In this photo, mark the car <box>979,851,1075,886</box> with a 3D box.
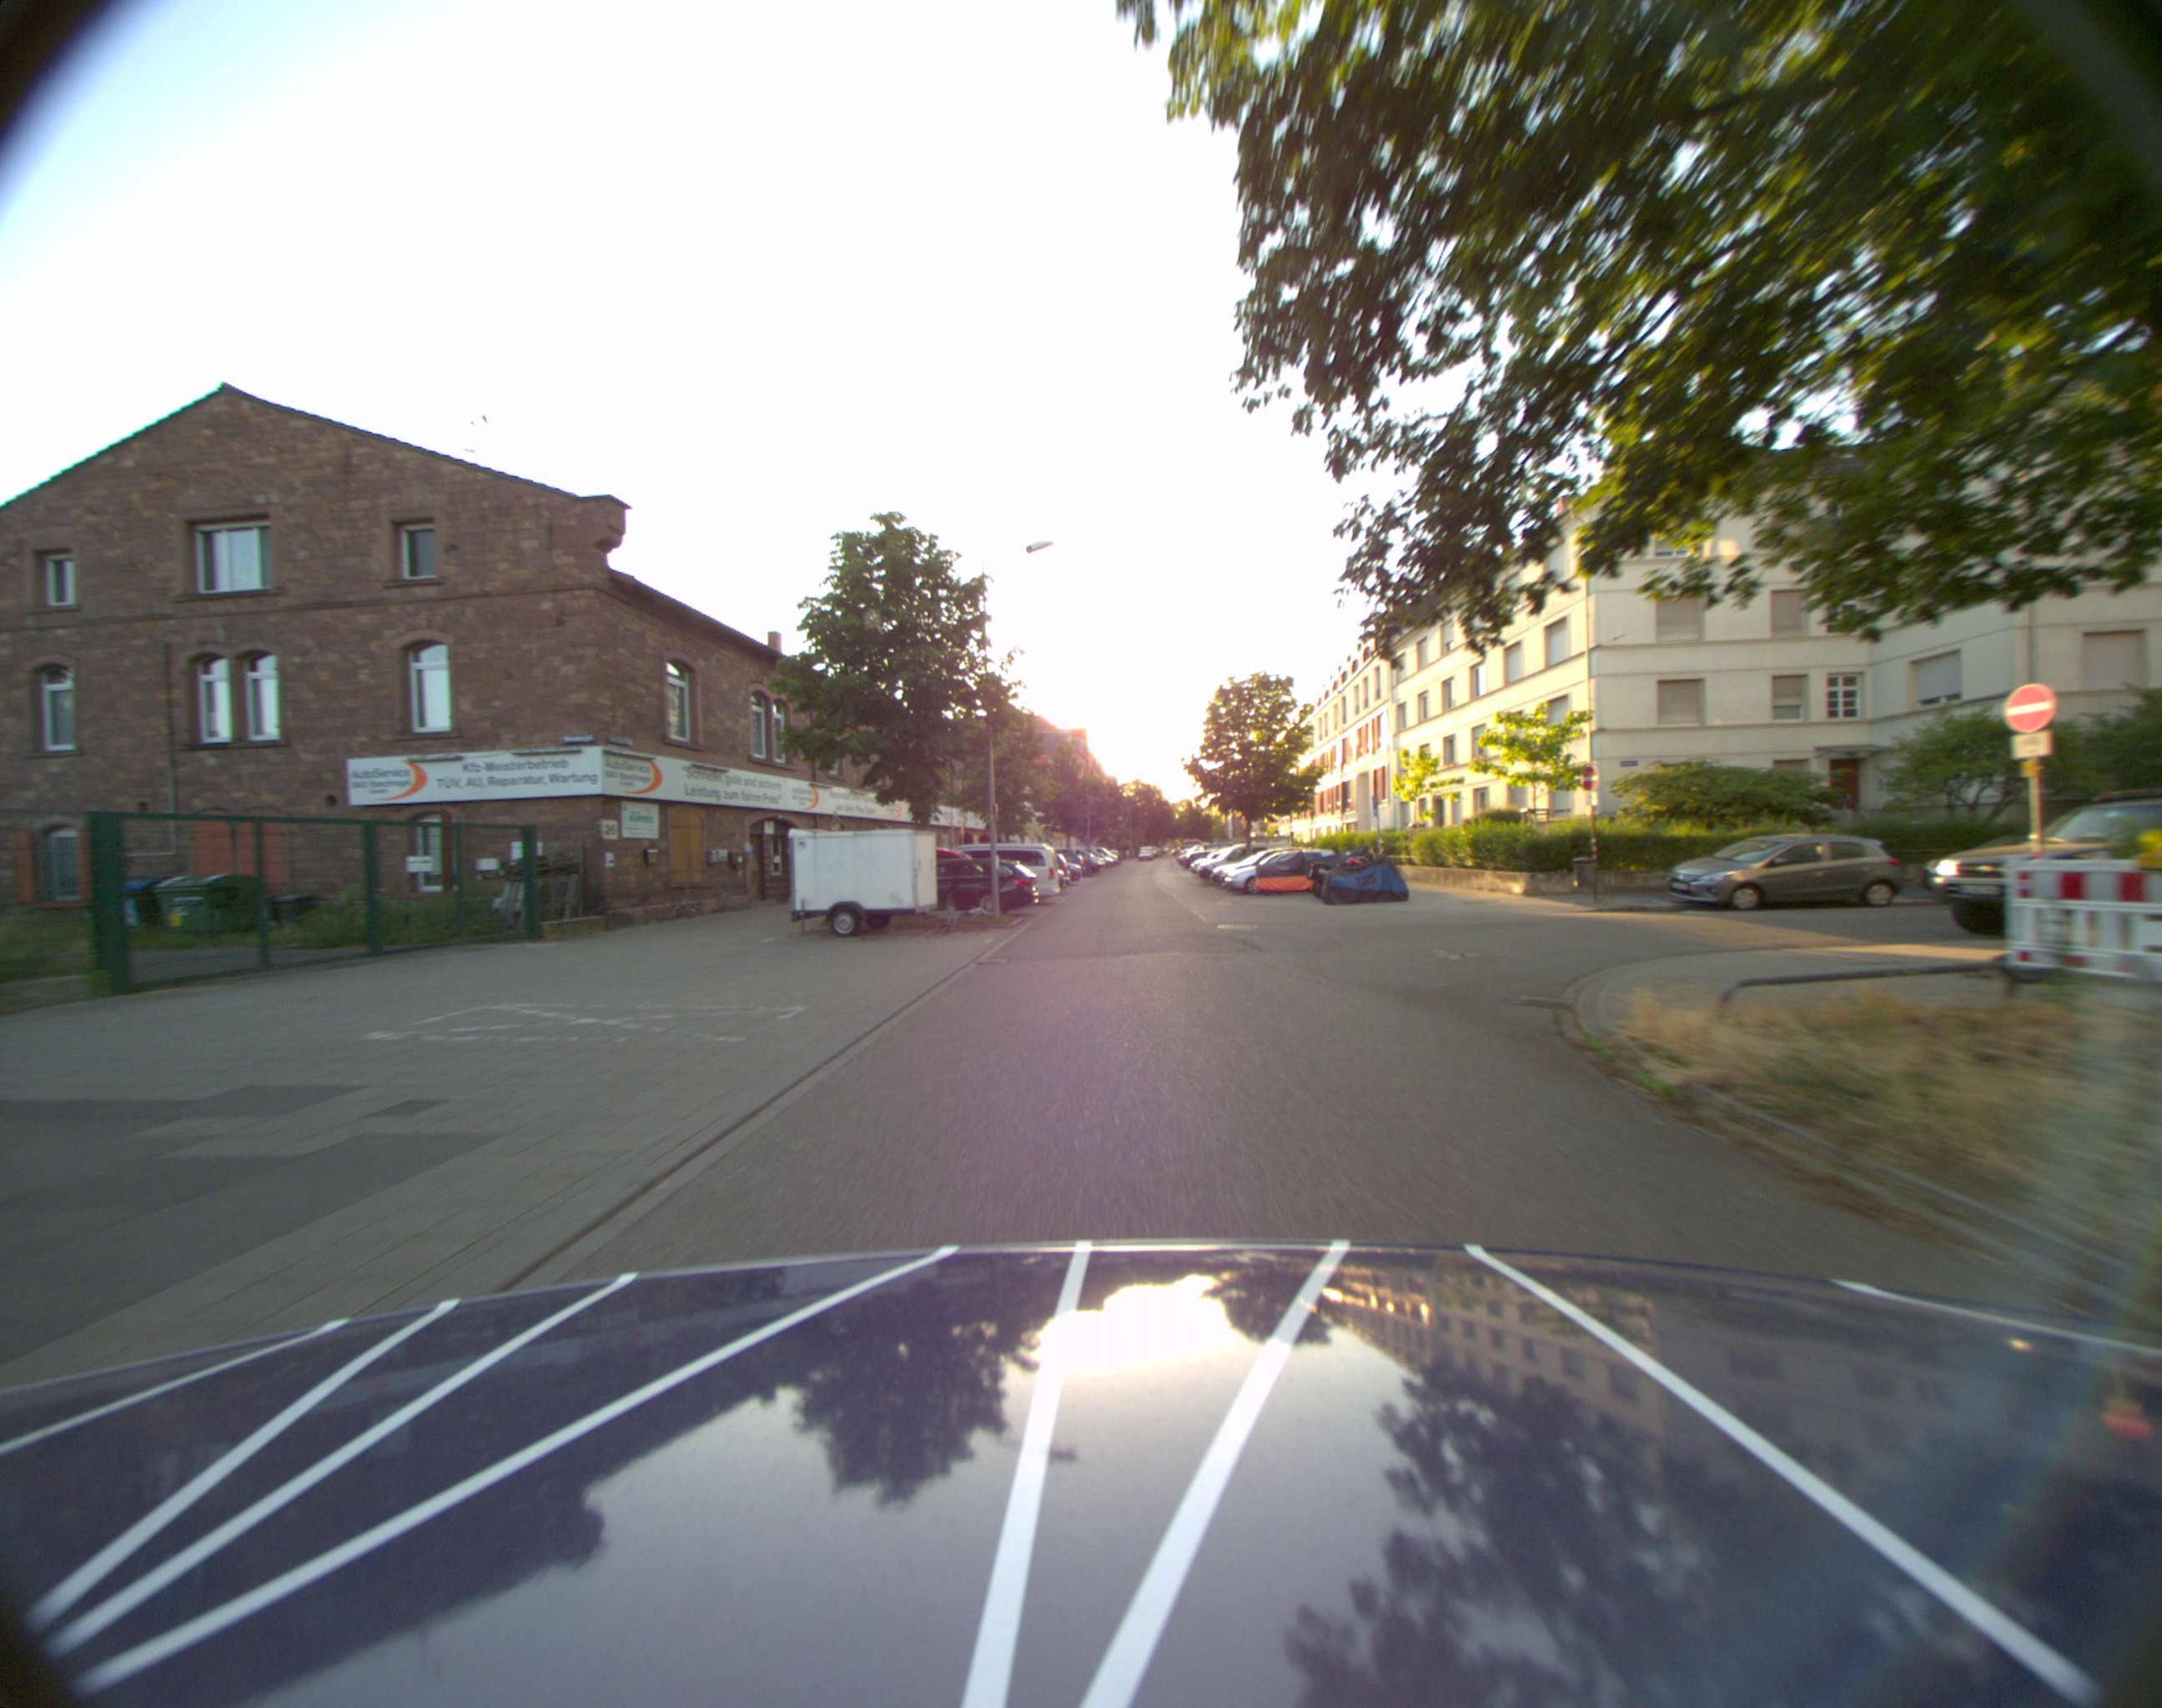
[{"bbox_3d":[-2.605,0.687,37.315,4.424,1.566,1.982,1,0,4],"label":"car"}]

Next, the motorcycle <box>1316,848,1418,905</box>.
[{"bbox_3d":[7.648,0.592,20.433,2.387,1.428,0.881,-2,1,8],"label":"motorcycle"}]

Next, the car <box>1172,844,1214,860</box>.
[{"bbox_3d":[11.628,-0.191,78.967,4.271,1.485,1.789,-2,1,7],"label":"car"}]

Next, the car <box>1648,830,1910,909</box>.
[{"bbox_3d":[14.777,0.307,16.287,3.773,1.456,1.829,-2,1,6],"label":"car"}]

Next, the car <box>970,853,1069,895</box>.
[{"bbox_3d":[-2.562,0.815,32.244,3.955,1.556,1.820,-2,1,2],"label":"car"}]

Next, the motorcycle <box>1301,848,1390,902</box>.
[{"bbox_3d":[7.463,0.595,21.532,2.235,1.428,0.774,-2,1,8],"label":"motorcycle"}]

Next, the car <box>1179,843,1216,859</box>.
[{"bbox_3d":[12.997,-0.303,84.753,3.956,1.531,1.756,-3,1,9],"label":"car"}]

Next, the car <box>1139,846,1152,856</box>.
[{"bbox_3d":[9.023,-0.438,105.601,1.732,1.367,3.764,-2,1,5],"label":"car"}]

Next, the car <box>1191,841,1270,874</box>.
[{"bbox_3d":[8.619,0.211,44.093,4.252,1.611,1.814,-4,0,6],"label":"car"}]

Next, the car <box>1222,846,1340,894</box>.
[{"bbox_3d":[6.928,0.545,26.552,3.721,1.497,1.690,-2,1,5],"label":"car"}]

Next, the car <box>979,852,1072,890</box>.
[{"bbox_3d":[-2.481,0.732,34.636,3.996,1.609,1.895,1,1,4],"label":"car"}]

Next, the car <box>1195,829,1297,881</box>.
[{"bbox_3d":[7.856,0.057,36.540,4.521,2.058,2.001,-5,0,8],"label":"car"}]

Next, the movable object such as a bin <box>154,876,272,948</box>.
[{"bbox_3d":[-18.679,1.229,16.377,1.263,1.436,1.097,-2,1,8],"label":"movable object such as a bin"}]

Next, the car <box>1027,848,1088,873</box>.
[{"bbox_3d":[-1.587,0.446,52.798,3.995,1.537,1.845,2,1,5],"label":"car"}]

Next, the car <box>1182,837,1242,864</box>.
[{"bbox_3d":[11.143,-0.319,64.699,4.863,2.043,2.001,-2,1,9],"label":"car"}]

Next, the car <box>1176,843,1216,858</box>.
[{"bbox_3d":[13.166,-0.369,87.102,4.345,1.515,1.706,-3,1,6],"label":"car"}]

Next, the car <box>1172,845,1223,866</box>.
[{"bbox_3d":[9.514,0.093,62.297,3.893,1.484,1.654,-4,1,3],"label":"car"}]

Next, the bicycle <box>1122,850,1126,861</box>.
[{"bbox_3d":[4.741,0.146,84.410,0.357,1.093,1.972,-2,1,5],"label":"bicycle"}]

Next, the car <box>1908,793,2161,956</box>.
[{"bbox_3d":[14.789,0.180,10.392,4.587,2.002,2.000,-2,1,4],"label":"car"}]

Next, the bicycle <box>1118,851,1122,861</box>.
[{"bbox_3d":[4.342,0.214,84.452,0.357,1.018,1.972,-2,1,5],"label":"bicycle"}]

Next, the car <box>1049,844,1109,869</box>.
[{"bbox_3d":[-0.143,0.200,62.536,4.595,1.851,2.013,3,2,7],"label":"car"}]

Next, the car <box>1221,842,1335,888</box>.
[{"bbox_3d":[7.445,0.400,29.044,3.995,1.574,1.729,-2,1,6],"label":"car"}]

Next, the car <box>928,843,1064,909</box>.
[{"bbox_3d":[-2.658,0.661,24.518,3.996,1.893,2.000,-2,1,4],"label":"car"}]

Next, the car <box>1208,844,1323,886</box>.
[{"bbox_3d":[7.577,0.424,31.553,4.335,1.397,1.852,-4,1,7],"label":"car"}]

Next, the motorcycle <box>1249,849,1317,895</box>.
[{"bbox_3d":[6.603,0.579,24.865,1.991,1.428,0.721,-2,1,0],"label":"motorcycle"}]

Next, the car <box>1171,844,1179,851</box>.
[{"bbox_3d":[21.171,-1.515,170.798,1.761,1.478,3.785,0,1,5],"label":"car"}]

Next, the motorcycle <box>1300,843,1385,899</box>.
[{"bbox_3d":[7.797,0.488,22.733,2.235,1.573,0.774,-2,1,8],"label":"motorcycle"}]

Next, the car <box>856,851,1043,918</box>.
[{"bbox_3d":[-3.334,0.751,19.769,4.437,1.490,1.774,-2,1,4],"label":"car"}]

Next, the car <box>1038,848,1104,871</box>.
[{"bbox_3d":[-0.699,0.392,57.605,4.703,1.622,2.001,2,1,7],"label":"car"}]

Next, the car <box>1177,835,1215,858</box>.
[{"bbox_3d":[13.581,-0.923,89.908,4.410,2.542,1.932,-2,1,8],"label":"car"}]

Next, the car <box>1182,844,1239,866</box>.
[{"bbox_3d":[10.197,0.075,59.827,4.148,1.408,1.738,-4,1,2],"label":"car"}]

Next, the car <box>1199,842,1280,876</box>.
[{"bbox_3d":[8.601,0.271,41.532,3.996,1.476,1.756,-5,0,4],"label":"car"}]

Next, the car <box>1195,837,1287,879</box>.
[{"bbox_3d":[8.179,0.201,39.264,4.430,1.791,1.944,-4,0,7],"label":"car"}]

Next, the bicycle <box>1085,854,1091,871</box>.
[{"bbox_3d":[0.512,0.592,54.738,0.309,1.185,1.763,-2,1,5],"label":"bicycle"}]

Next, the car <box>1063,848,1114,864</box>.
[{"bbox_3d":[0.712,0.173,72.318,4.731,1.487,2.001,0,1,5],"label":"car"}]

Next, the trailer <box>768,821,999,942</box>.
[{"bbox_3d":[-3.895,0.529,15.435,3.995,2.175,2.001,-2,1,7],"label":"trailer"}]

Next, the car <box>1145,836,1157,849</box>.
[{"bbox_3d":[12.106,-1.975,131.563,1.998,2.002,4.001,-2,1,5],"label":"car"}]

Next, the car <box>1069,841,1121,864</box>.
[{"bbox_3d":[1.471,-0.138,77.863,4.969,2.089,2.152,-2,2,10],"label":"car"}]

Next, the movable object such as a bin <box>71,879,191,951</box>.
[{"bbox_3d":[-20.713,1.305,16.591,1.288,1.436,1.059,-2,1,8],"label":"movable object such as a bin"}]

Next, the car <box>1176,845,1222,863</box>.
[{"bbox_3d":[11.131,-0.001,71.954,3.998,1.580,2.053,-2,1,-2],"label":"car"}]

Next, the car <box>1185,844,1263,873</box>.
[{"bbox_3d":[8.733,0.269,46.609,4.418,1.443,1.828,-4,1,4],"label":"car"}]

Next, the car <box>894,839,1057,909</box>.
[{"bbox_3d":[-2.995,0.543,22.123,4.310,1.789,1.904,-2,1,4],"label":"car"}]

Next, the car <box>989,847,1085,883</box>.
[{"bbox_3d":[-2.272,0.582,40.093,4.796,1.743,2.018,1,0,4],"label":"car"}]
